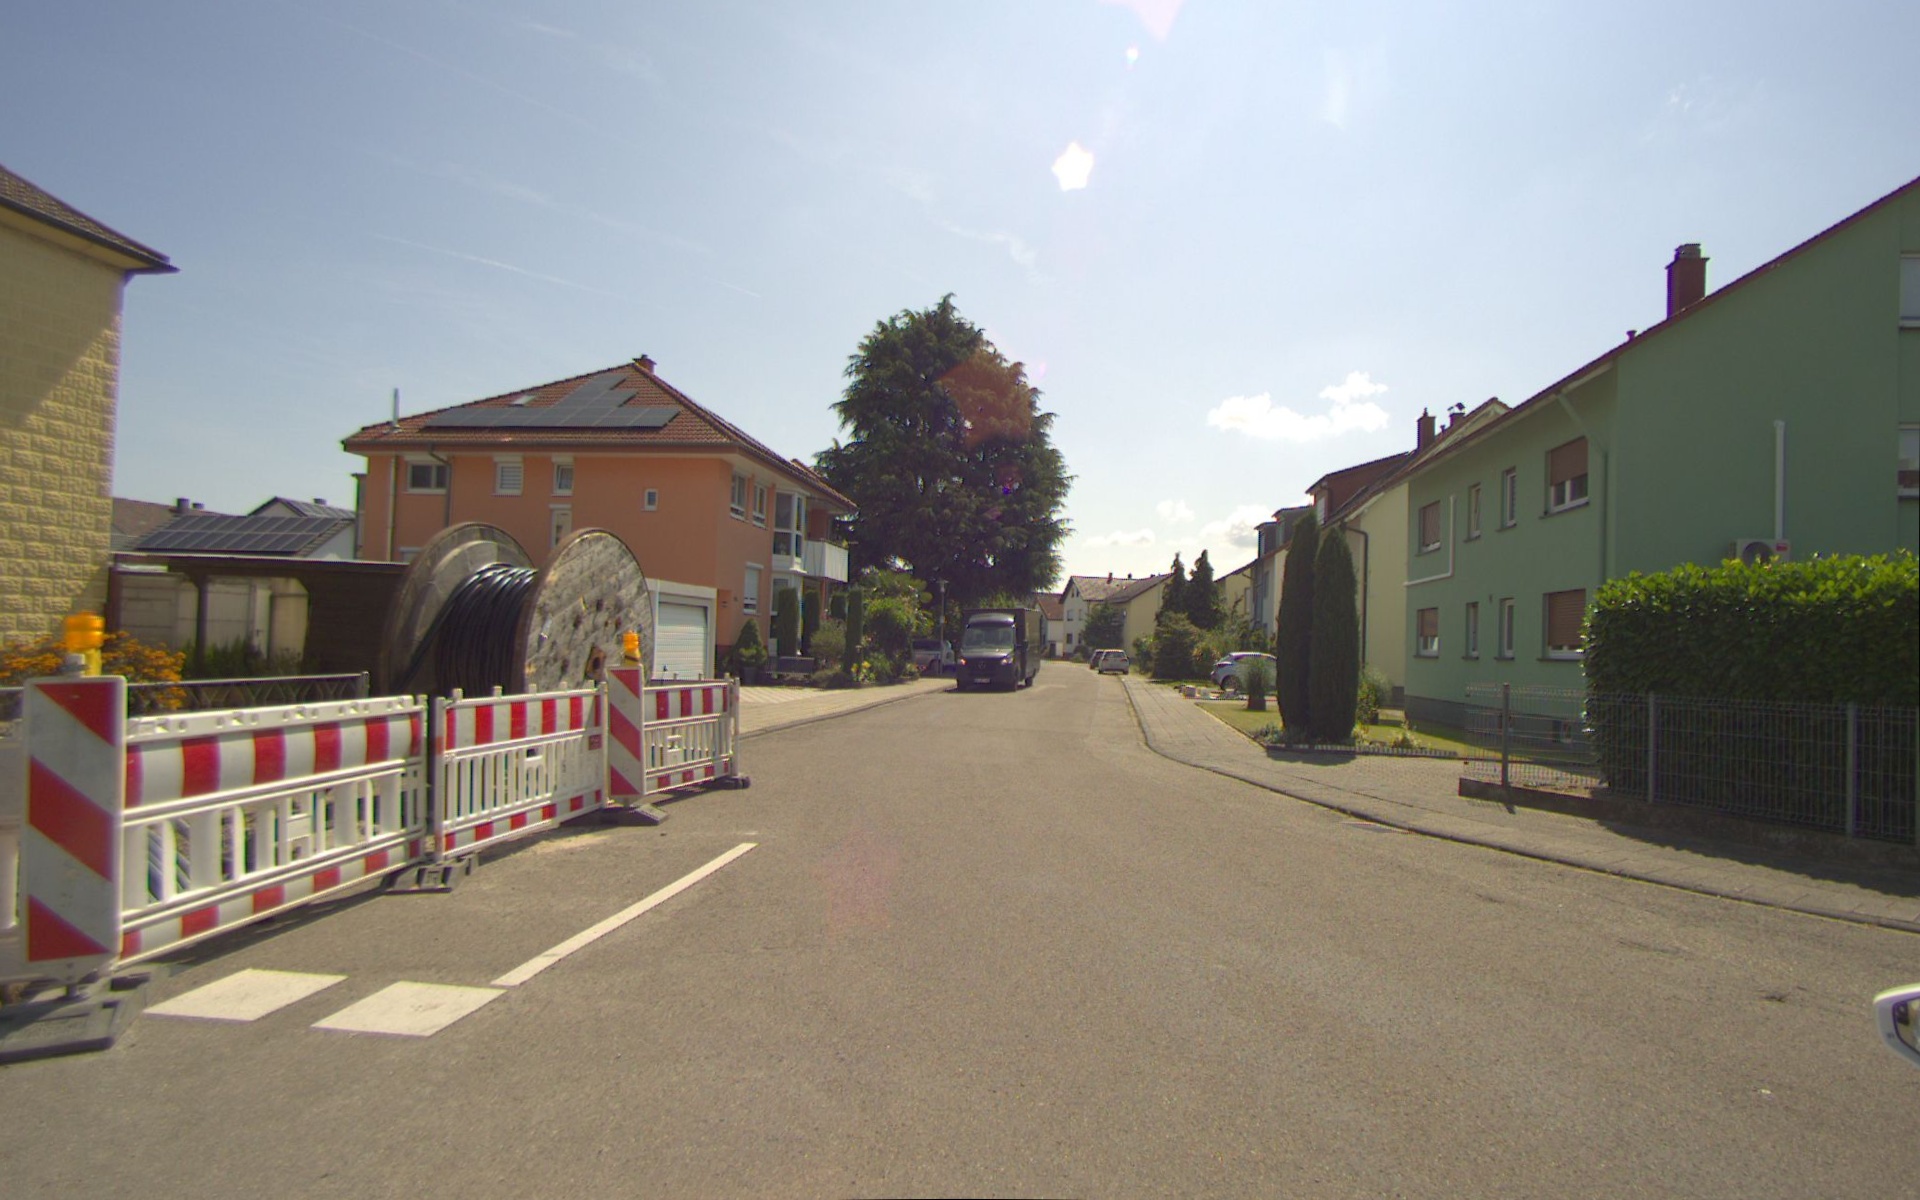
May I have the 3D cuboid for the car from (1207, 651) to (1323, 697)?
[{"bbox_3d":[11.103,2.689,36.809,3.847,1.529,1.775,1,-2,9],"label":"car"}]

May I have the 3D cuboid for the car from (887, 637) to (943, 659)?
[{"bbox_3d":[-3.610,3.864,81.072,4.121,1.674,1.815,2,-2,11],"label":"car"}]

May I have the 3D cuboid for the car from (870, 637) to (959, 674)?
[{"bbox_3d":[-2.269,2.806,50.734,4.121,1.674,1.815,2,-2,11],"label":"car"}]

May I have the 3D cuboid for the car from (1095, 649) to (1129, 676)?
[{"bbox_3d":[9.330,3.816,61.922,1.777,1.514,4.003,2,-2,6],"label":"car"}]

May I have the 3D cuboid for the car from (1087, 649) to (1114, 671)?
[{"bbox_3d":[10.490,4.474,74.978,1.777,1.514,4.003,2,-2,6],"label":"car"}]

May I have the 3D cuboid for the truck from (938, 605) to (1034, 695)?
[{"bbox_3d":[1.082,1.766,35.459,2.392,2.824,7.304,-1,-3,9],"label":"truck"}]
